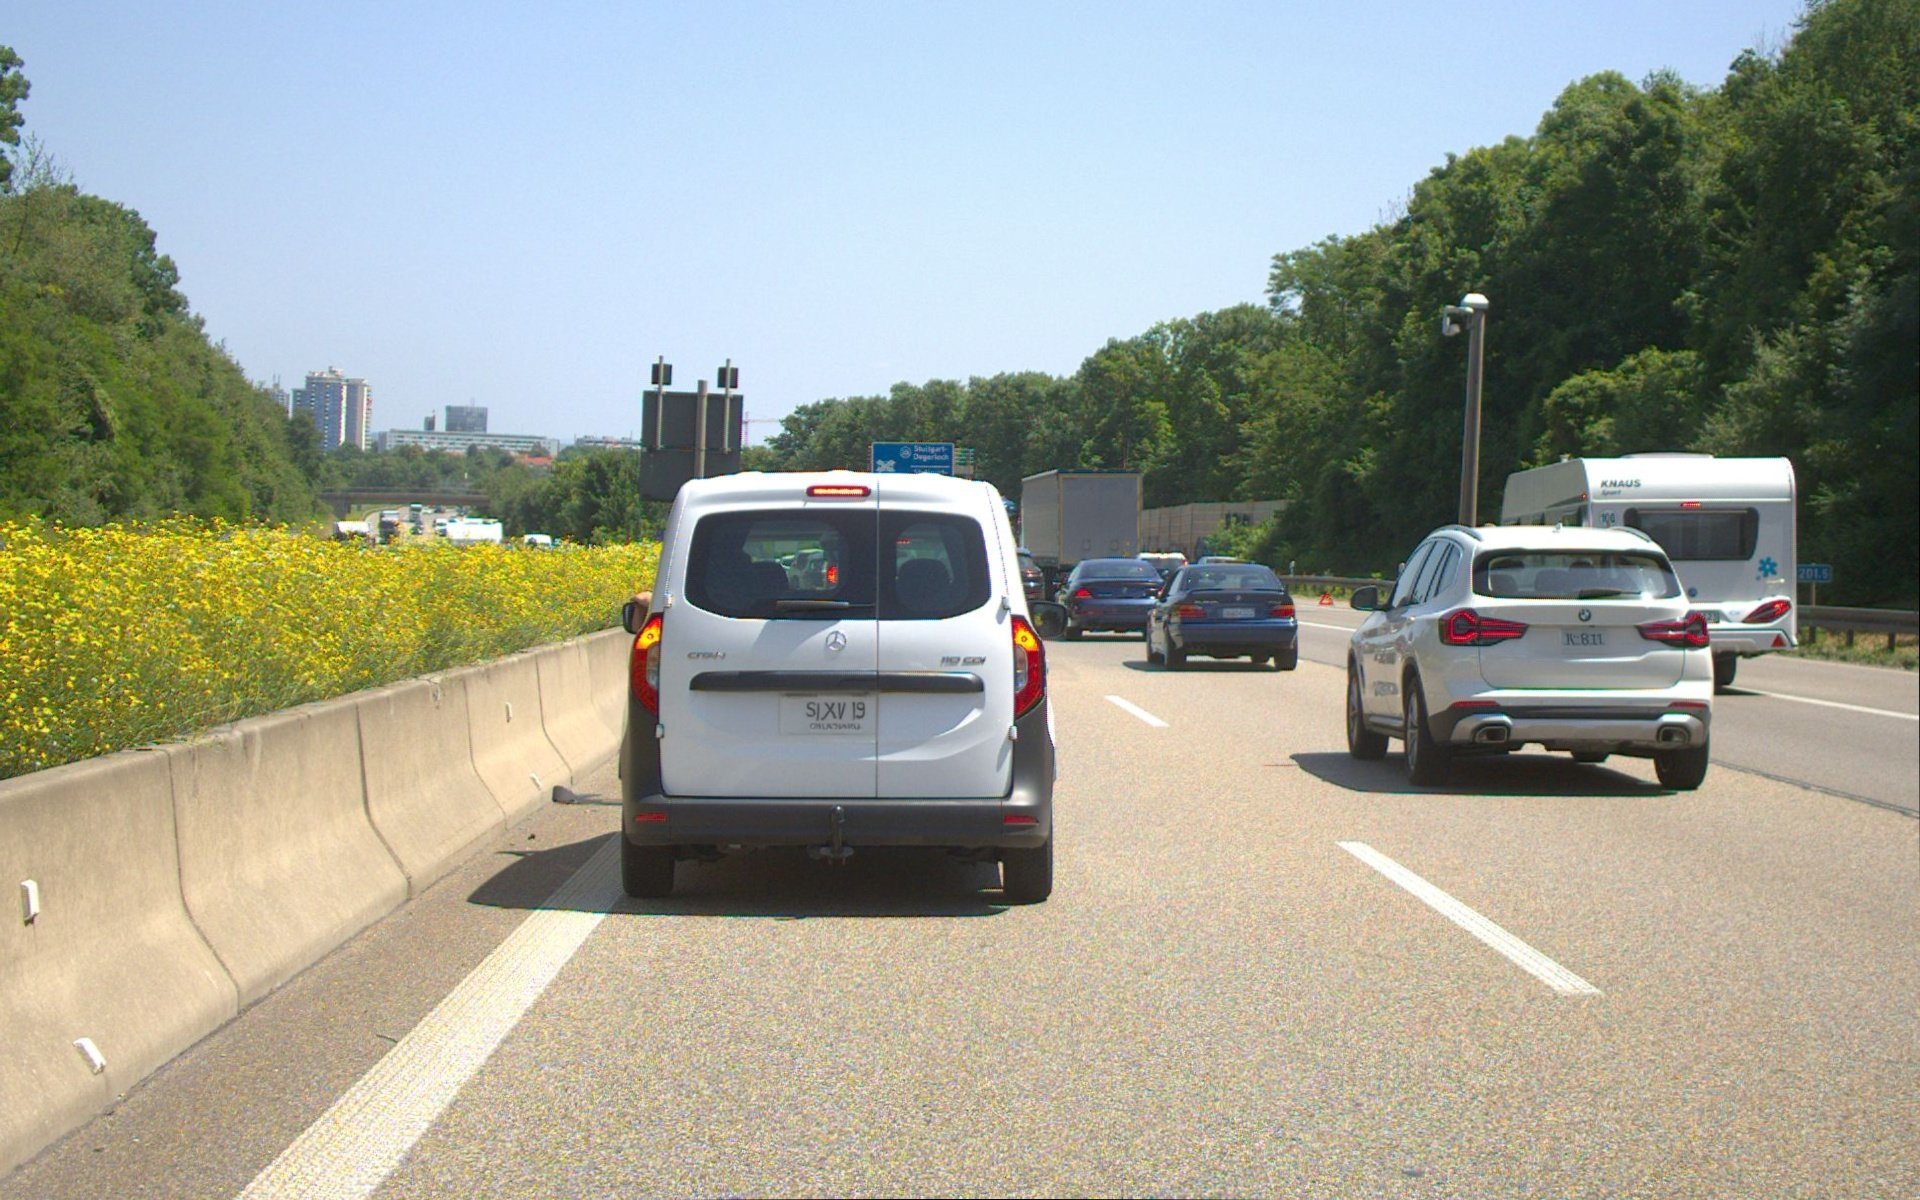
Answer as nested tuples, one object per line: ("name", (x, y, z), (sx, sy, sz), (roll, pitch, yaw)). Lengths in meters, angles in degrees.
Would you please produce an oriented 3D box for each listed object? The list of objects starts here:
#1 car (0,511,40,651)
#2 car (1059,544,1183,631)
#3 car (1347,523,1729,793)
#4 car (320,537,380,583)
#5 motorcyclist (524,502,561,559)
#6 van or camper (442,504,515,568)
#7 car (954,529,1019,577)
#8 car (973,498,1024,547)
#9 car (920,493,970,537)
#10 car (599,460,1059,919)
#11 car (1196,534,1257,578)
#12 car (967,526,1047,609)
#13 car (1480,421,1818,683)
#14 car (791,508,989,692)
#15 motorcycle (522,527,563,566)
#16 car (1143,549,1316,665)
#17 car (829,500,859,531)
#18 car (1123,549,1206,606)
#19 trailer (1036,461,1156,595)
("car", (-11.743, -0.217, 38.199), (1.993, 1.567, 4.065), (1, 1, -1))
("car", (2.715, -0.237, 58.878), (1.824, 1.419, 4.000), (1, 1, -1))
("car", (3.759, 0.312, 23.011), (1.871, 1.602, 3.879), (1, 1, 0))
("car", (-22.774, -1.511, 128.475), (1.755, 1.690, 4.423), (1, 1, -5))
("motorcyclist", (-13.357, -2.225, 110.009), (1.031, 1.779, 1.284), (0, 1, -1))
("van or camper", (-20.331, -2.712, 145.444), (2.308, 2.627, 7.400), (1, 1, -3))
("car", (0.793, -1.444, 105.124), (1.824, 1.442, 4.000), (1, 1, -1))
("car", (1.590, -3.197, 142.665), (1.993, 2.007, 4.000), (0, 1, -1))
("car", (-0.716, -3.927, 159.285), (1.993, 2.007, 4.001), (0, 1, -5))
("car", (-0.590, 0.318, 15.623), (1.802, 1.802, 4.001), (1, 1, -2))
("car", (9.524, -1.576, 122.939), (1.788, 1.514, 4.000), (1, 1, -1))
("car", (1.140, -0.821, 85.544), (1.824, 1.982, 4.000), (1, 1, -1))
("car", (7.816, -0.561, 39.751), (2.478, 2.756, 6.220), (1, 1, -1))
("car", (-0.758, -0.032, 36.975), (1.993, 1.853, 4.000), (1, 1, -1))
("motorcycle", (-13.354, -1.714, 110.050), (1.040, 1.211, 2.614), (1, 1, -1))
("car", (3.448, 0.054, 44.644), (1.824, 1.419, 4.000), (1, 1, -1))
("car", (-7.800, -5.684, 231.131), (1.993, 2.007, 4.000), (1, 1, -1))
("car", (5.319, -0.608, 89.756), (1.824, 1.419, 4.000), (1, 1, -1))
("trailer", (4.181, -2.251, 108.091), (3.081, 3.972, 10.324), (1, 1, -1))
